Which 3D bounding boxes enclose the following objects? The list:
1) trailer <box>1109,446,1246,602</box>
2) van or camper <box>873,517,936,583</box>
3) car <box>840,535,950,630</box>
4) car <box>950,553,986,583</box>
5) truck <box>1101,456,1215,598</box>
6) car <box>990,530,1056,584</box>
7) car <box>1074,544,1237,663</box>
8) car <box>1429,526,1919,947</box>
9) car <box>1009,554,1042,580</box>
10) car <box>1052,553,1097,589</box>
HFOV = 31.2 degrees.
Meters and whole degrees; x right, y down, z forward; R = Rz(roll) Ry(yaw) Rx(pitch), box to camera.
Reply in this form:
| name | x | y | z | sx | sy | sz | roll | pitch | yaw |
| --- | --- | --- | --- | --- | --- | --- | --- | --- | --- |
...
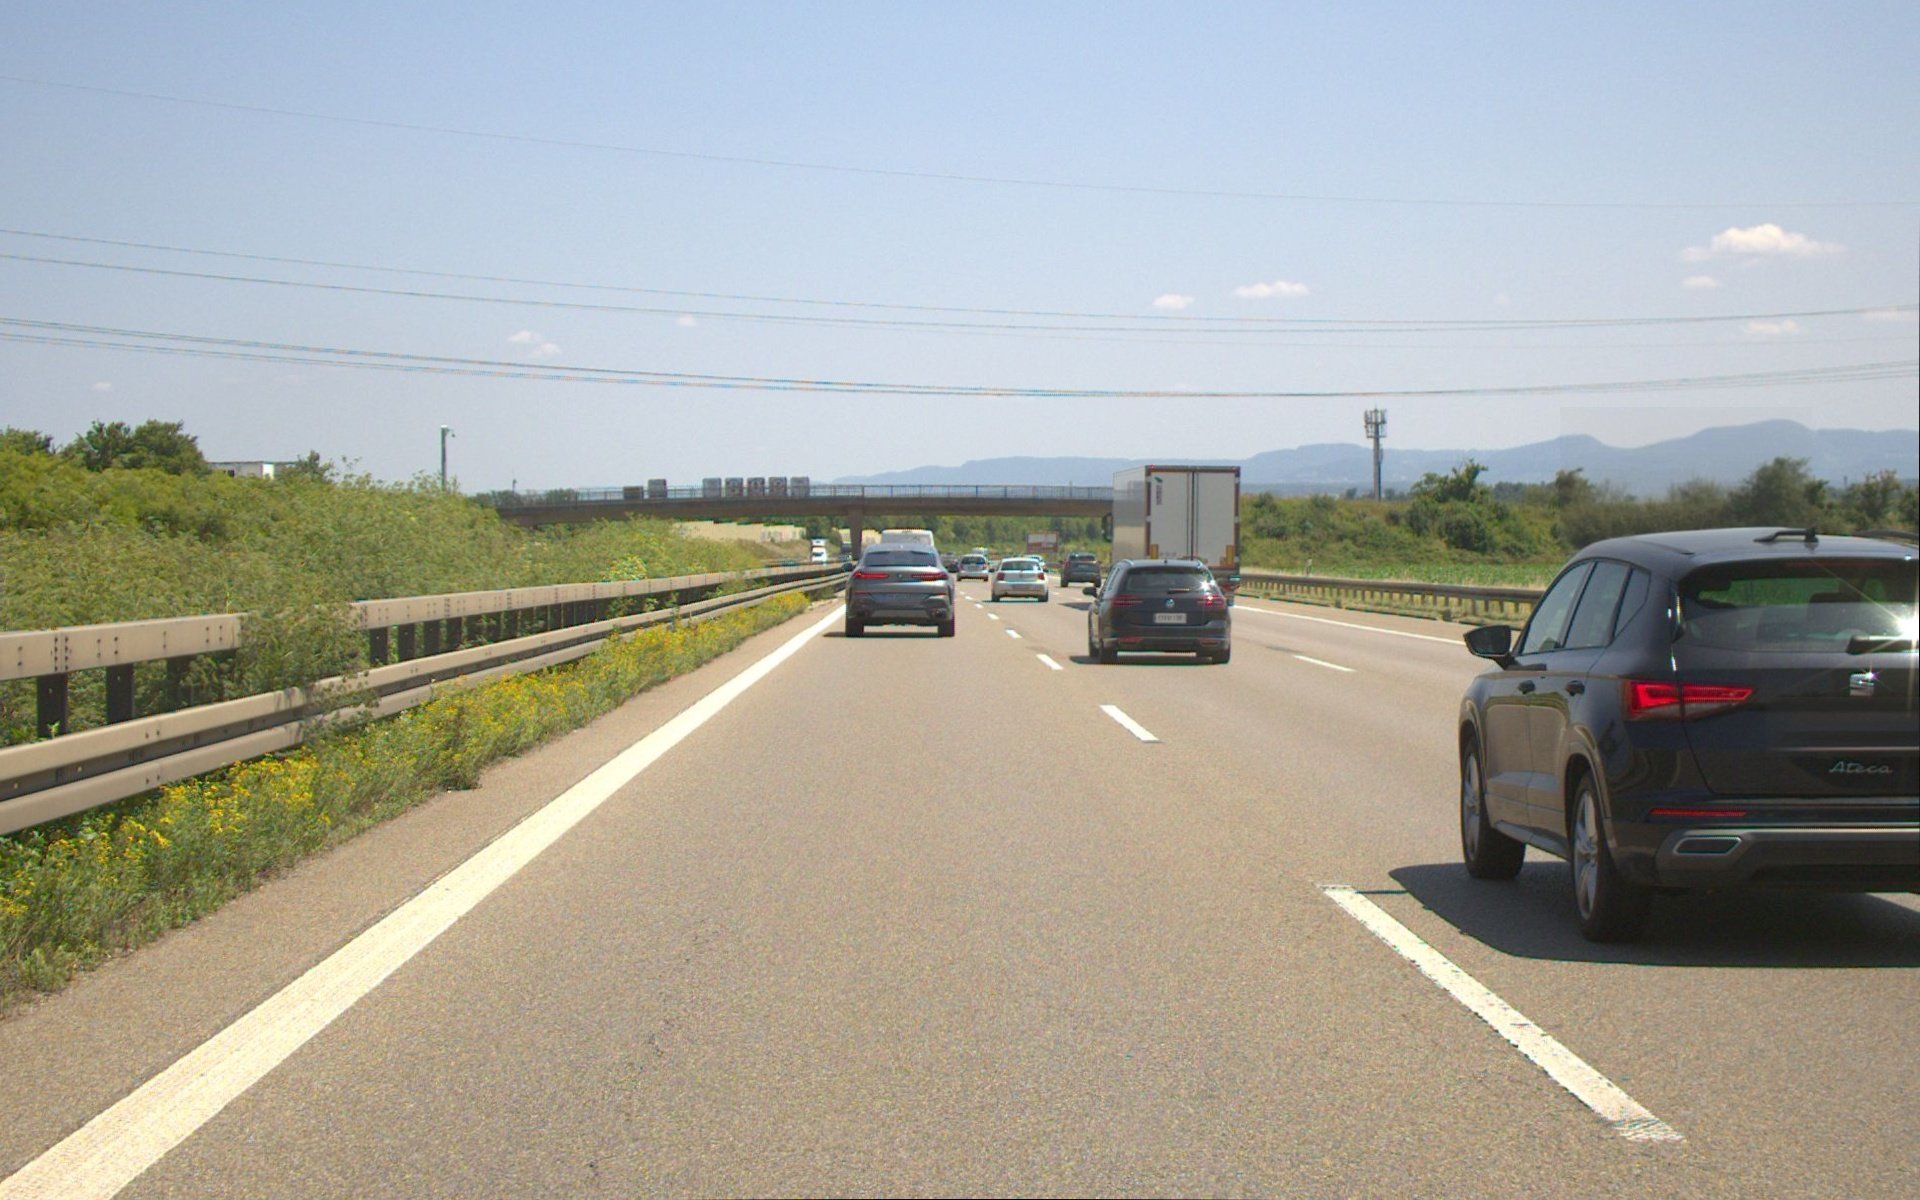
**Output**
| name | x | y | z | sx | sy | sz | roll | pitch | yaw |
| --- | --- | --- | --- | --- | --- | --- | --- | --- | --- |
| trailer | 6.197 | -2.133 | 100.068 | 2.943 | 4.184 | 13.597 | 1 | 1 | 0 |
| van or camper | -1.883 | -1.713 | 118.442 | 2.110 | 2.204 | 5.266 | 1 | 1 | 0 |
| car | -1.216 | -0.331 | 62.980 | 1.851 | 1.658 | 3.735 | 1 | 1 | -3 |
| car | 0.445 | -1.873 | 198.287 | 1.993 | 1.677 | 4.000 | 1 | 1 | 0 |
| truck | 6.126 | -2.240 | 107.369 | 2.979 | 4.213 | 7.687 | 1 | 1 | 0 |
| car | 2.015 | -1.397 | 111.162 | 1.993 | 1.677 | 4.000 | 1 | 1 | 0 |
| car | 2.720 | 0.020 | 48.911 | 1.933 | 1.569 | 4.935 | 1 | 1 | -1 |
| car | 3.234 | 0.493 | 14.763 | 1.796 | 1.556 | 3.824 | 1 | 1 | -2 |
| car | 4.290 | -2.151 | 225.774 | 1.993 | 1.677 | 4.000 | 1 | 1 | 0 |
| car | 5.452 | -1.394 | 164.117 | 1.993 | 1.677 | 4.000 | 1 | 1 | 0 |
